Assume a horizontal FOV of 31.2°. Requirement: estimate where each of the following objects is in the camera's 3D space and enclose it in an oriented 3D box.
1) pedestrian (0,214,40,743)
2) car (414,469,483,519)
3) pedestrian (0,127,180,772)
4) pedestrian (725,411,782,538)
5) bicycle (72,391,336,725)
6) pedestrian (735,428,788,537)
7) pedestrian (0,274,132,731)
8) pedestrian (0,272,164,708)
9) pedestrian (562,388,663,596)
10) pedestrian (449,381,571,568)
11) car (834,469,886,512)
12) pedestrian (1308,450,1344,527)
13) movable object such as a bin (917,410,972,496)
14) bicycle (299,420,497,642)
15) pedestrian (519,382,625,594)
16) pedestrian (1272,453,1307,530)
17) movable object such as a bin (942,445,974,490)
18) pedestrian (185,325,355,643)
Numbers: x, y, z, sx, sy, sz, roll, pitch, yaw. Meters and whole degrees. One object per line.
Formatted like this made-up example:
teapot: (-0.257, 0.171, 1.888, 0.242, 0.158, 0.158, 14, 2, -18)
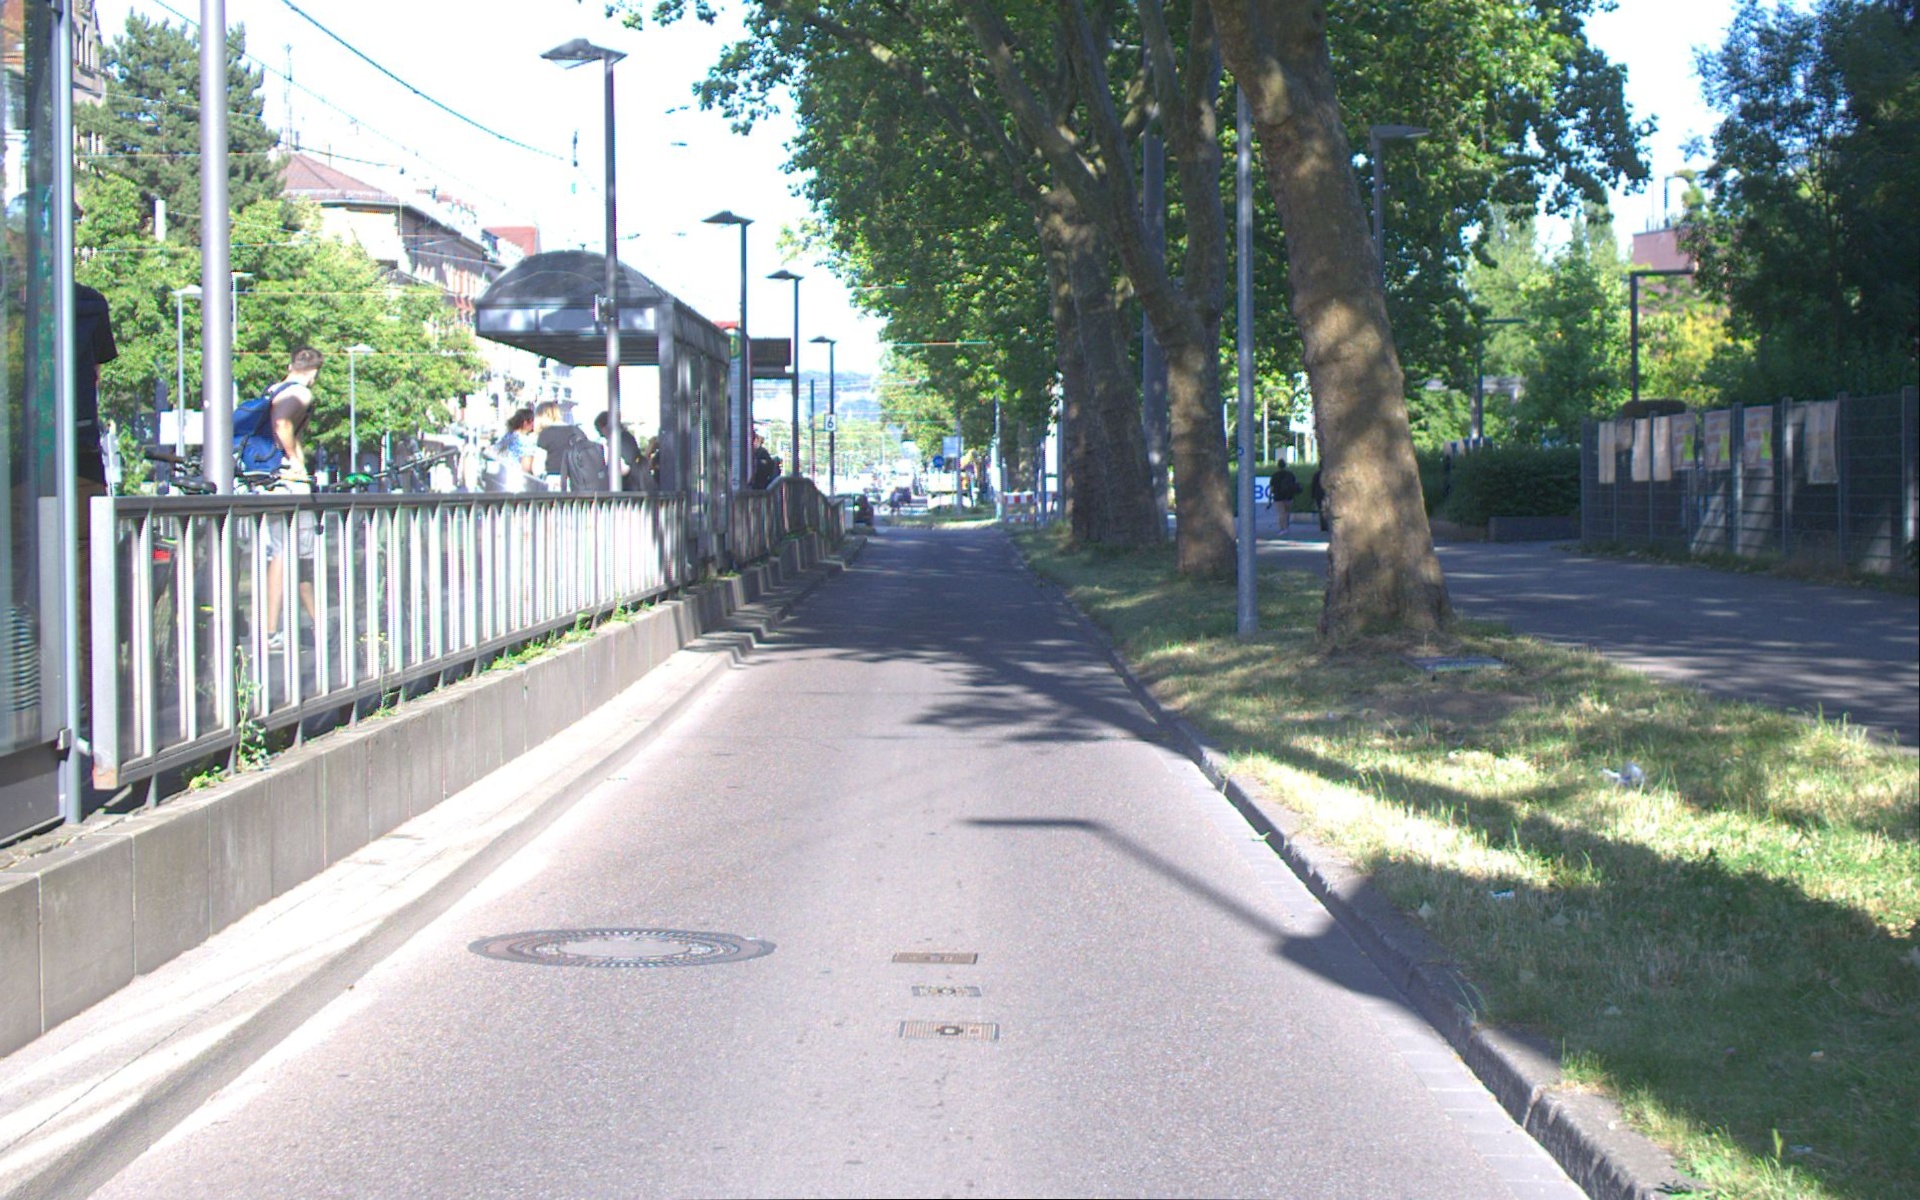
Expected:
pedestrian: (-3.561, -0.413, 11.619, 0.599, 1.794, 0.824, 2, 2, 5)
car: (-19.311, -4.012, 129.960, 1.864, 1.799, 4.028, 2, 2, 1)
pedestrian: (-2.953, -0.483, 11.080, 0.599, 1.989, 0.824, 2, 2, 5)
pedestrian: (-2.799, -1.701, 46.725, 0.679, 1.684, 0.895, 2, 2, 0)
bicycle: (-2.778, -0.178, 12.808, 0.513, 1.129, 2.104, 2, 2, 0)
pedestrian: (-3.110, -1.840, 53.943, 0.757, 1.684, 0.678, 2, 2, 0)
pedestrian: (-3.526, -0.376, 13.197, 0.548, 1.702, 0.600, 1, 2, -3)
pedestrian: (-3.554, -0.442, 13.898, 0.506, 1.702, 0.730, 1, 2, -3)
pedestrian: (-2.979, -0.929, 29.550, 0.765, 1.752, 0.695, 1, 2, -1)
pedestrian: (-4.203, -1.167, 32.108, 0.907, 1.716, 0.631, 0, 2, -34)
car: (-4.121, -4.526, 141.610, 1.993, 1.678, 4.001, 2, 2, 0)
pedestrian: (7.880, -2.403, 74.083, 0.650, 1.651, 0.783, -2, 2, 0)
movable object such as a bin: (-1.015, -9.125, 213.985, 3.087, 5.070, 8.893, -3, 2, -1)
bicycle: (-3.040, -0.392, 18.780, 0.737, 1.129, 2.031, 2, 2, 0)
pedestrian: (-2.938, -0.849, 26.066, 0.678, 1.556, 0.851, 2, 2, -1)
pedestrian: (7.105, -2.339, 74.153, 0.627, 1.651, 0.740, -2, 2, 0)
movable object such as a bin: (-0.158, -9.084, 236.168, 1.968, 3.002, 4.797, -3, 2, -1)
pedestrian: (-3.947, -0.664, 19.710, 0.785, 1.764, 0.773, 2, 2, 0)
